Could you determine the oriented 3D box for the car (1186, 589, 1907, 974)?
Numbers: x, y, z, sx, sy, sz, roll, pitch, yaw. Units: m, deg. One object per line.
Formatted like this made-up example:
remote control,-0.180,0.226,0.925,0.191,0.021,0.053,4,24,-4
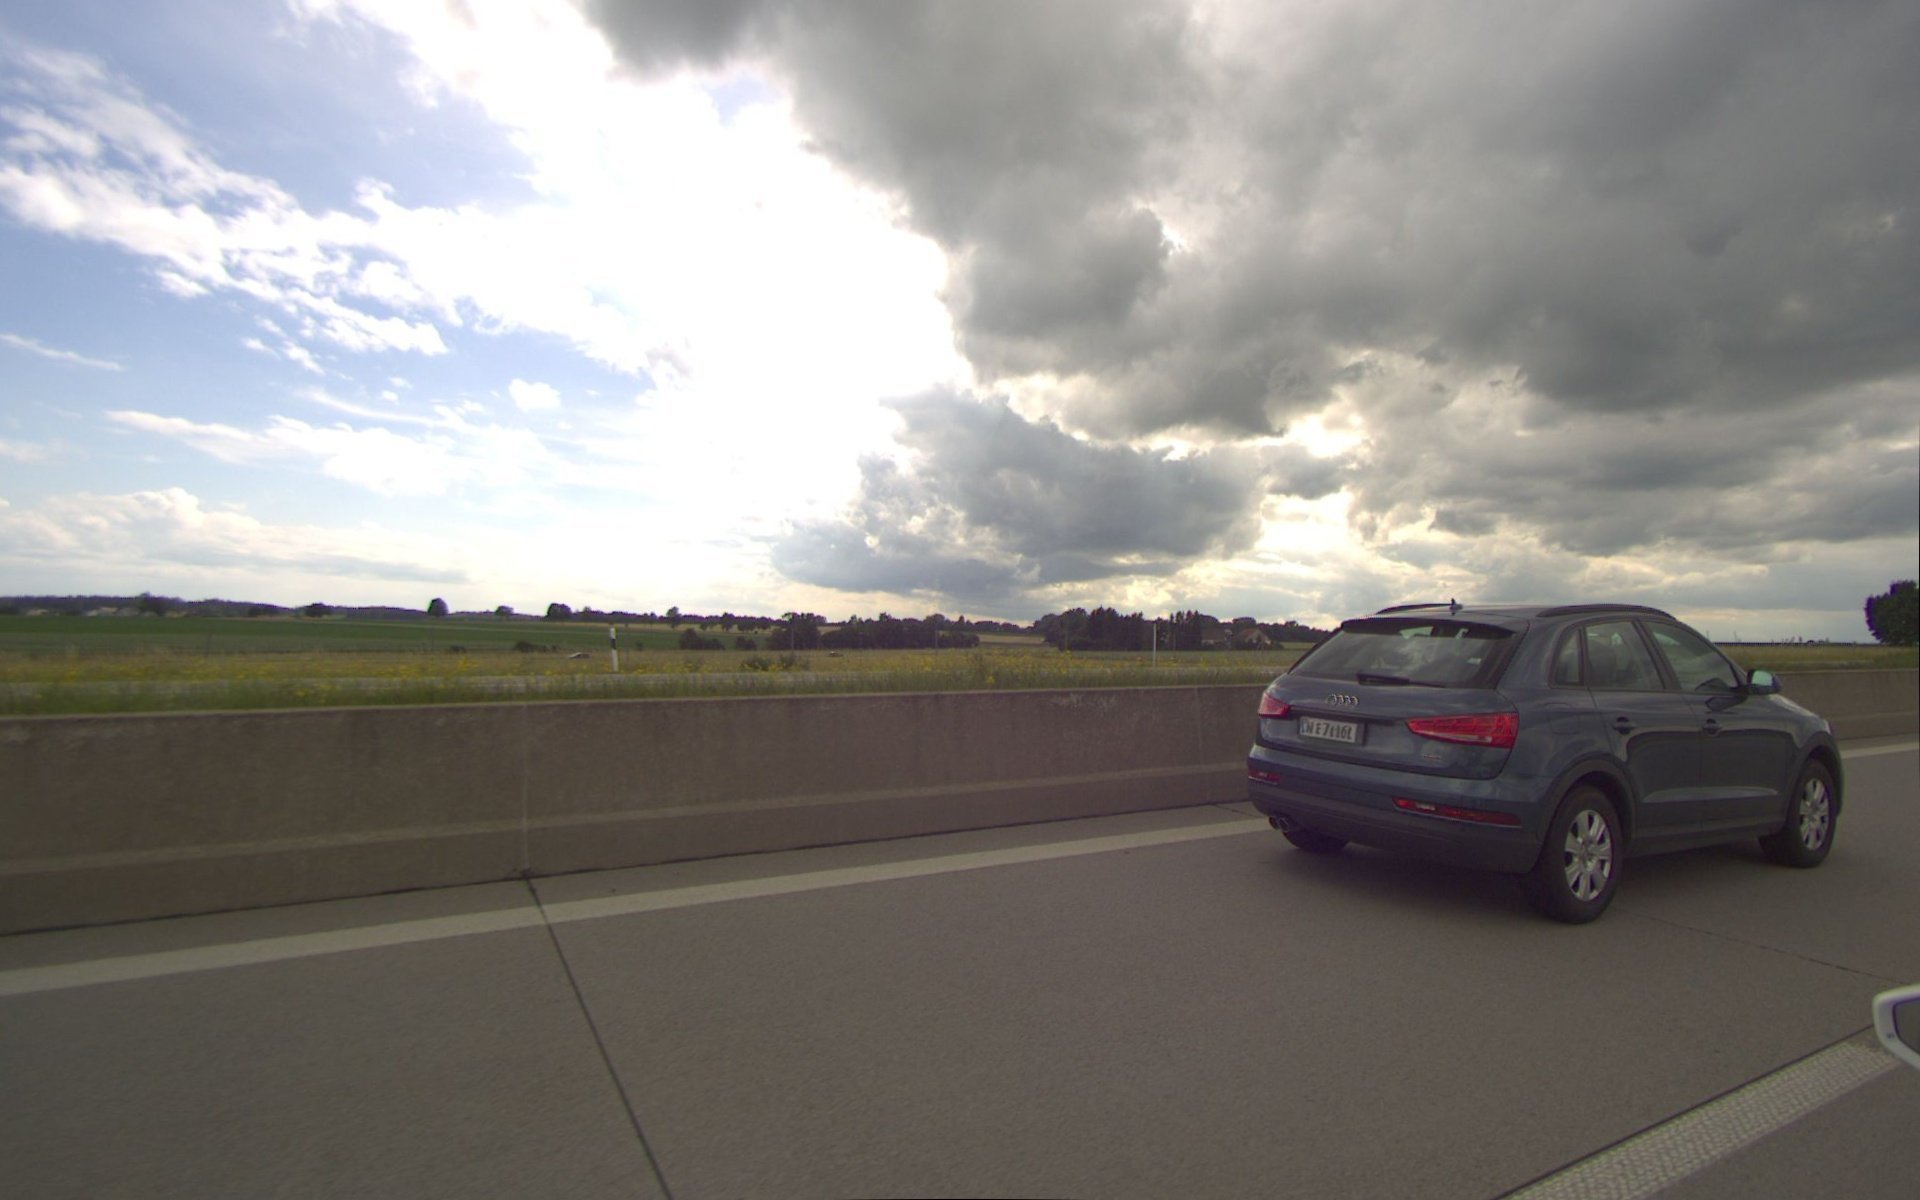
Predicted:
car,3.929,0.817,6.354,5.100,1.617,1.783,2,0,-32
